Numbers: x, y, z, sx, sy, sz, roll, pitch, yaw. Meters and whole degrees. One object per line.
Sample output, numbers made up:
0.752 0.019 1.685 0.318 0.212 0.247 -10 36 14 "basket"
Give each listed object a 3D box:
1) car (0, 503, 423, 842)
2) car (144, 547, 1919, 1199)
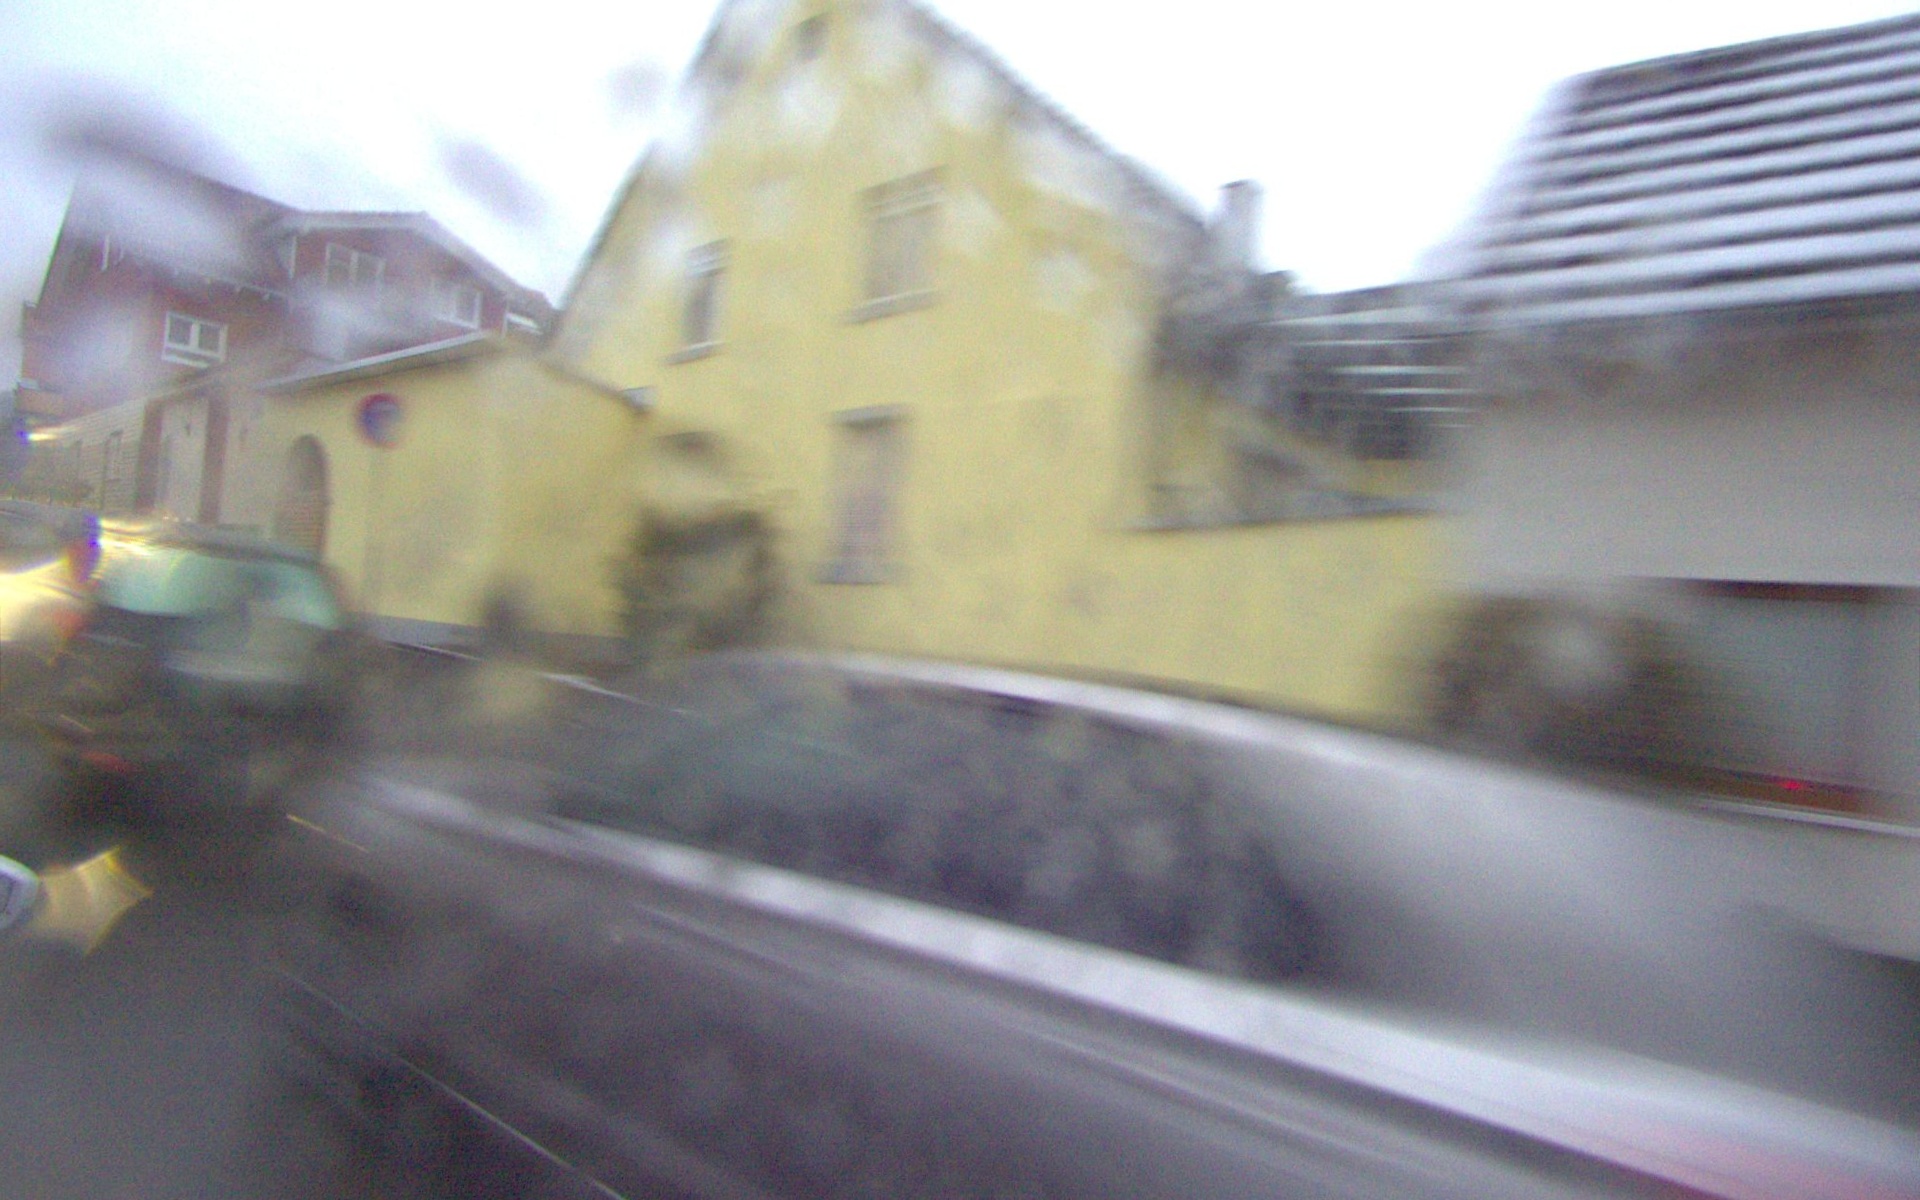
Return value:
-5.569 0.198 6.331 4.721 1.448 1.728 6 -2 34 "car"
-0.156 0.831 2.667 4.549 1.456 1.792 6 -2 34 "car"
